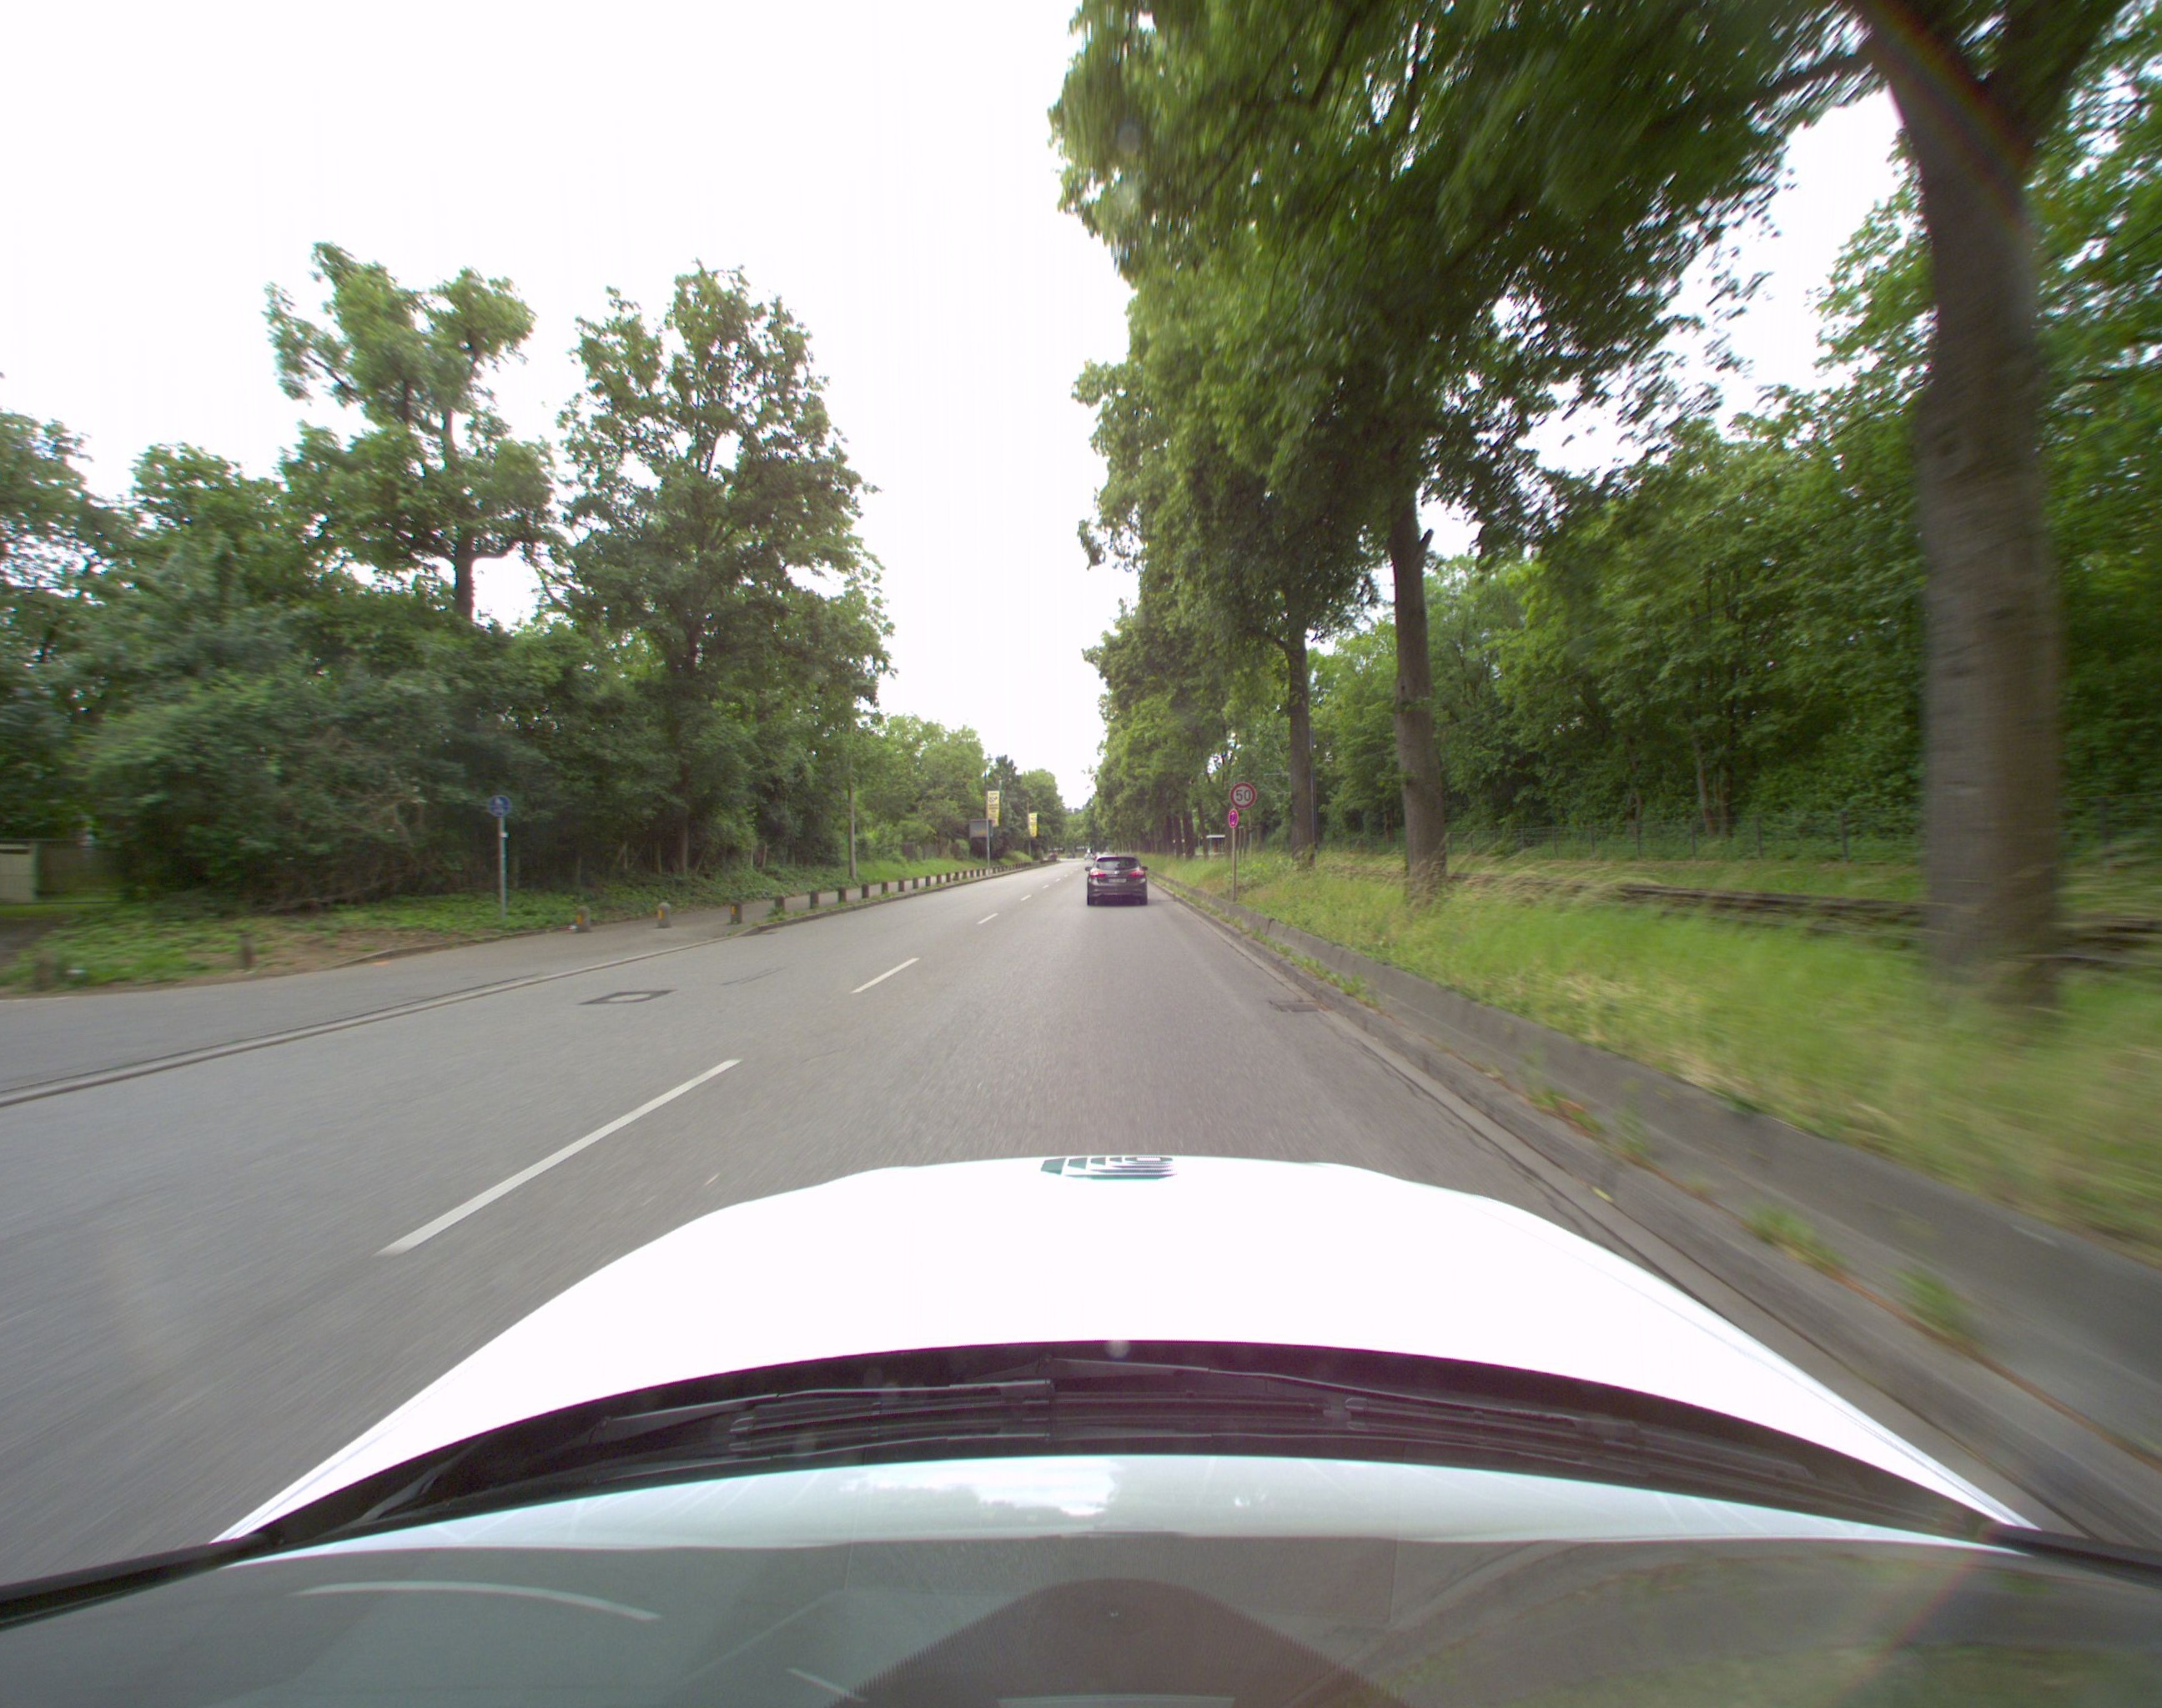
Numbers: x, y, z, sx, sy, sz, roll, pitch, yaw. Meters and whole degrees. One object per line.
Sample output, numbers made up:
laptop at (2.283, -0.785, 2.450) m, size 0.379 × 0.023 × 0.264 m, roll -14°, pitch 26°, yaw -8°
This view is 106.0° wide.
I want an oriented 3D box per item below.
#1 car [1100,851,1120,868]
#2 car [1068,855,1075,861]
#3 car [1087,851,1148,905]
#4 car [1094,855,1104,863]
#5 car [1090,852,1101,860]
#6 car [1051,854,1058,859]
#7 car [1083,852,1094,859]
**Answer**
car at (2.666, 0.478, 75.108) m, size 1.724 × 1.537 × 3.552 m, roll 0°, pitch 0°, yaw 1°
car at (-2.491, 0.981, 211.354) m, size 1.560 × 1.441 × 3.541 m, roll 0°, pitch 0°, yaw -8°
car at (1.062, 0.679, 24.915) m, size 1.724 × 1.537 × 3.552 m, roll 0°, pitch 0°, yaw 1°
car at (3.042, 0.834, 136.586) m, size 1.556 × 1.441 × 3.551 m, roll 0°, pitch 0°, yaw 0°
car at (2.696, 0.421, 153.305) m, size 1.561 × 1.441 × 3.540 m, roll 0°, pitch 0°, yaw -9°
car at (-8.070, 0.859, 244.361) m, size 1.562 × 1.441 × 3.538 m, roll 0°, pitch 0°, yaw -11°
car at (1.569, 0.291, 175.950) m, size 1.563 × 1.441 × 3.536 m, roll 0°, pitch 0°, yaw -13°
